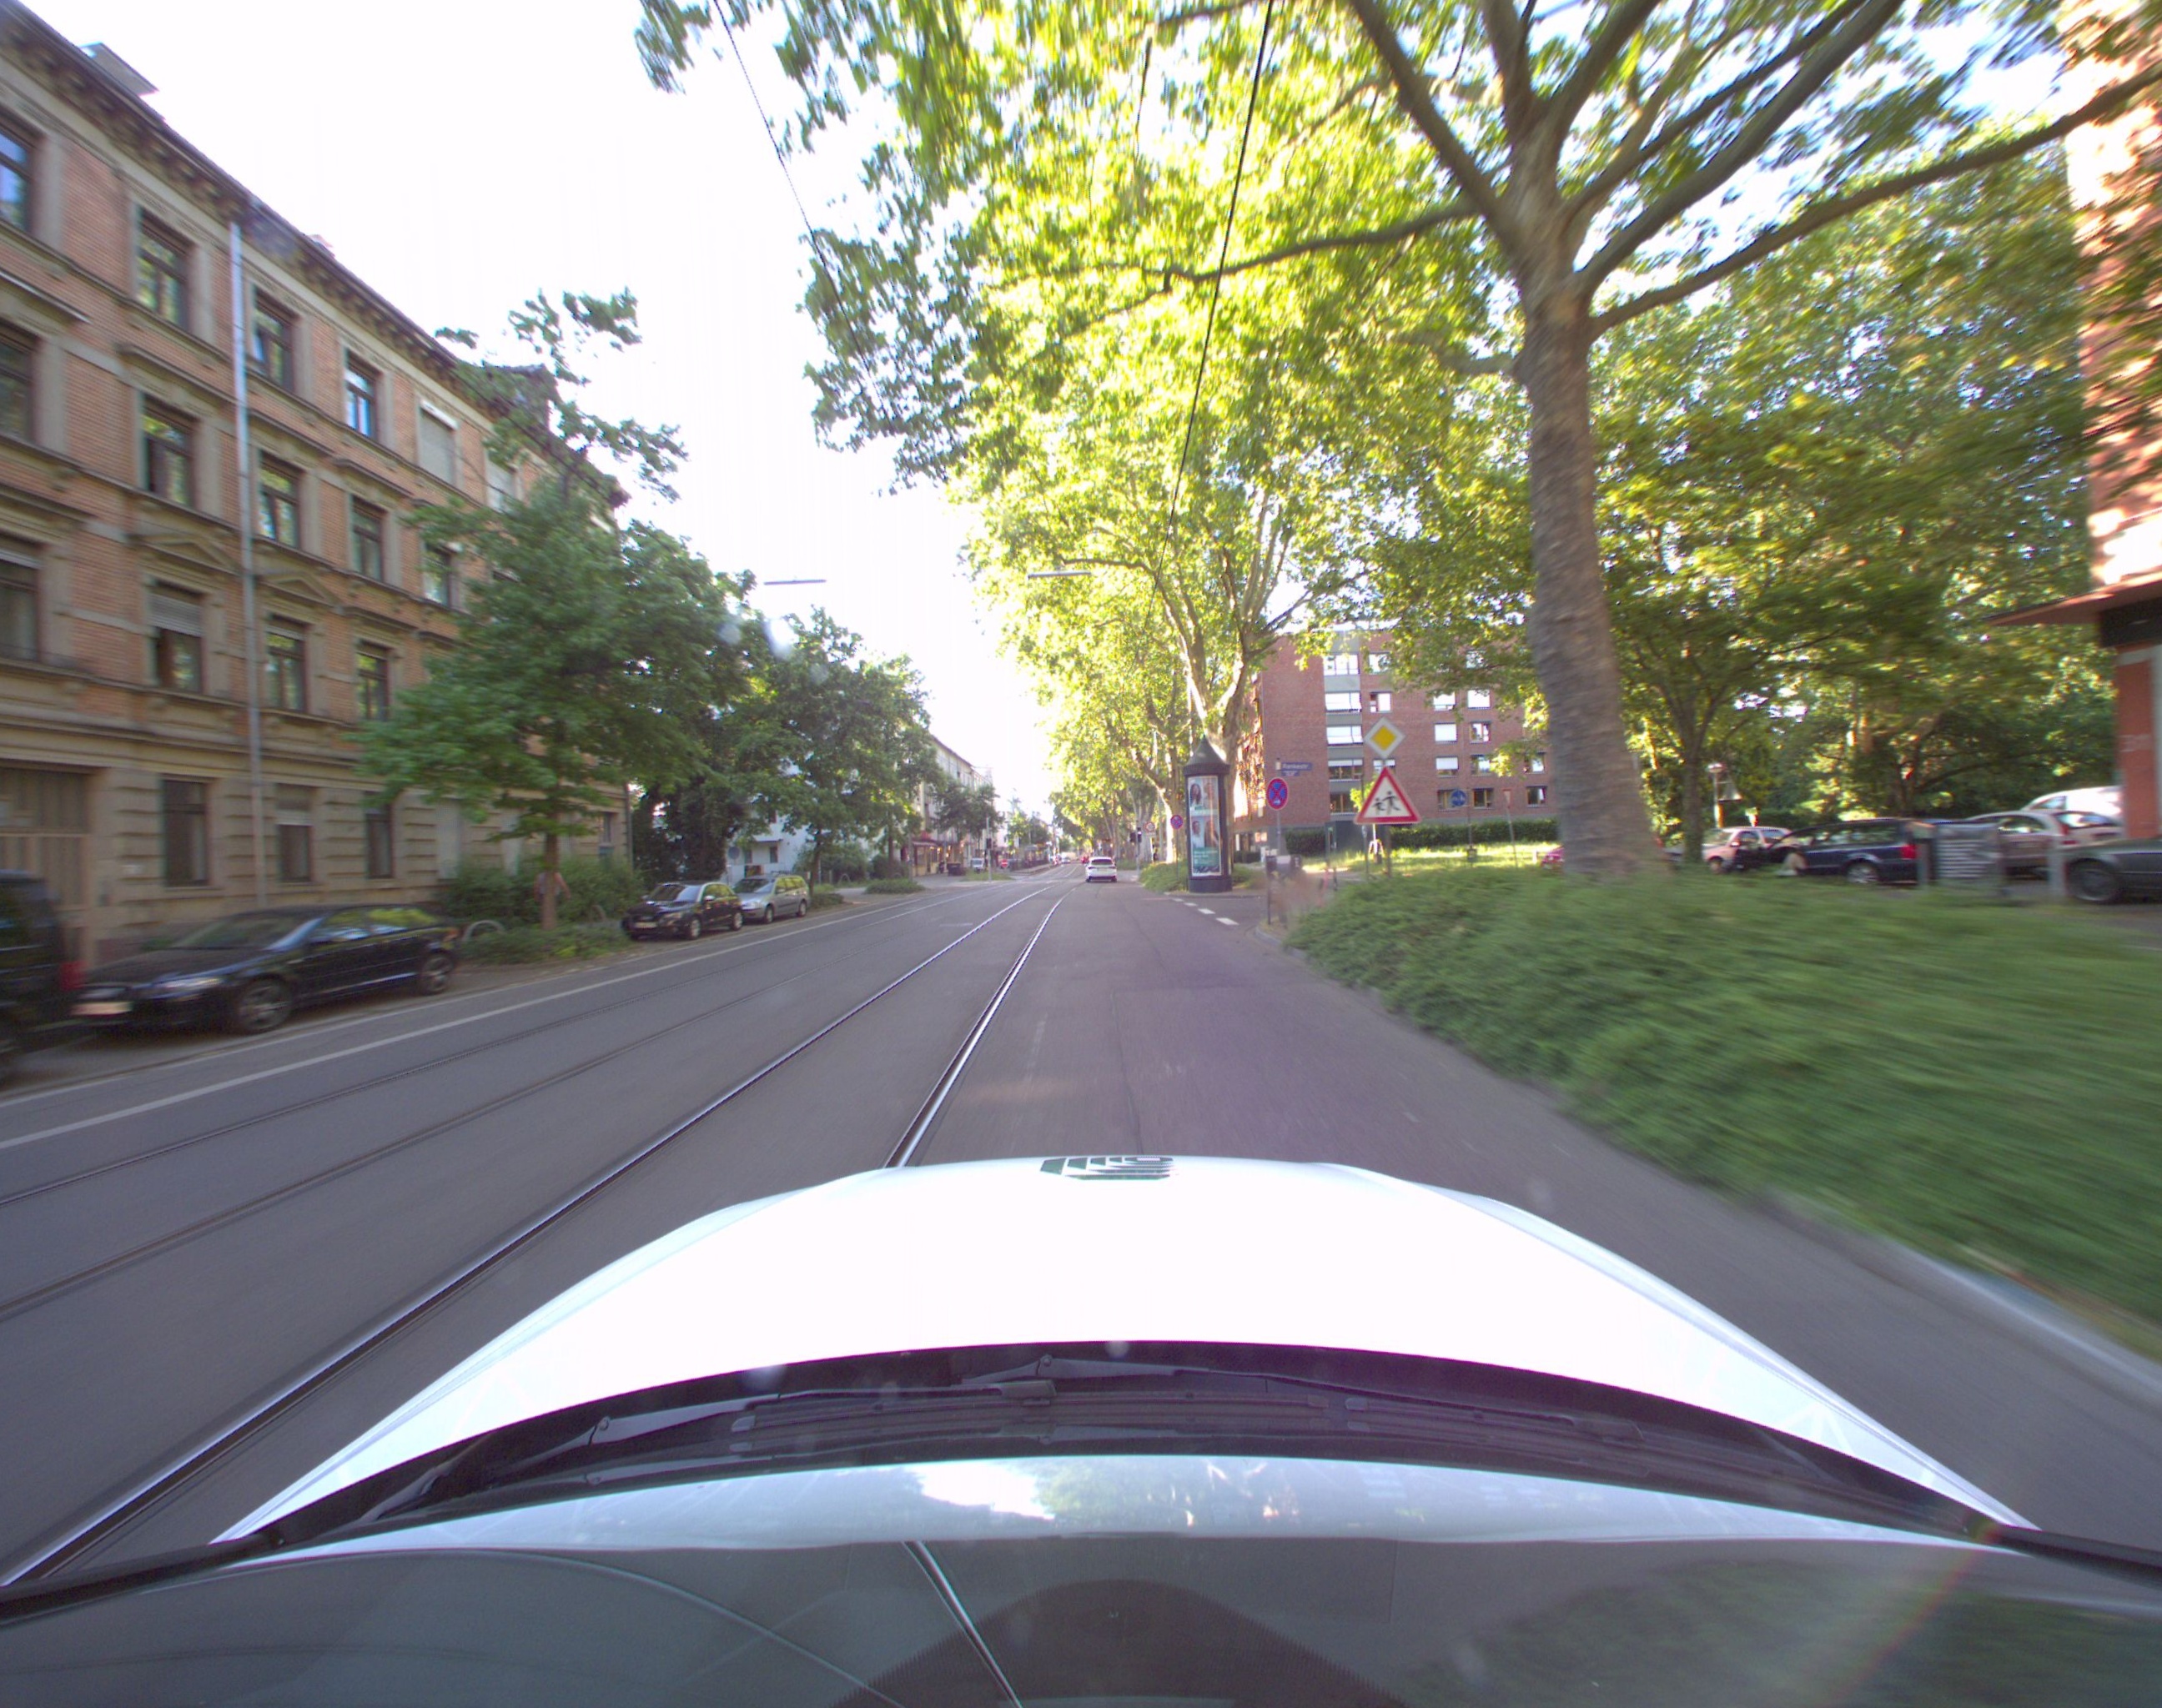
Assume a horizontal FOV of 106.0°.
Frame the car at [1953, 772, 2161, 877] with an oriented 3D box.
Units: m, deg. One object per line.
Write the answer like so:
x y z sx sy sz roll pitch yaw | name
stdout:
23.496 -0.668 18.411 1.907 2.184 5.079 -3 0 -3 | car

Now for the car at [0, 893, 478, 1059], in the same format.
-10.504 1.388 10.762 1.847 1.458 4.268 -3 0 -1 | car

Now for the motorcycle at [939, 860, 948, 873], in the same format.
-15.266 1.373 90.328 0.597 1.311 2.222 -3 0 0 | motorcycle

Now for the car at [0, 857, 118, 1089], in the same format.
-10.439 1.087 5.529 1.988 2.013 4.832 -3 0 -1 | car

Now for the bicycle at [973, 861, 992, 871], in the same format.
-11.778 1.448 97.403 2.245 1.074 0.636 1 0 1 | bicycle

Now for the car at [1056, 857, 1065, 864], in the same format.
-4.401 1.428 175.831 1.688 1.419 3.999 -3 0 0 | car

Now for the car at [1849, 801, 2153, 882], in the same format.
21.176 -0.263 19.116 1.785 1.574 4.572 -3 0 -4 | car

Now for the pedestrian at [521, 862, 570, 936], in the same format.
-13.788 1.151 20.996 0.739 1.847 0.728 -1 0 -2 | pedestrian

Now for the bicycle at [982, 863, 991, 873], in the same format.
-9.498 1.401 82.168 0.639 0.987 2.100 -4 0 -1 | bicycle

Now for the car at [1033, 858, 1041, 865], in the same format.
-10.282 1.660 190.220 1.672 1.548 3.999 0 0 0 | car

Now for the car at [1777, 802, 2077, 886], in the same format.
18.741 -0.206 18.430 1.786 1.574 4.569 -3 0 -5 | car

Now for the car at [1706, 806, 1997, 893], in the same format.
16.511 -0.082 17.861 1.786 1.574 4.569 -3 0 -5 | car

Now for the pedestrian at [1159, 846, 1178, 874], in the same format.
6.159 0.393 57.562 0.981 1.863 1.014 -6 0 -5 | pedestrian

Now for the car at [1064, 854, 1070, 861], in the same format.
-4.156 0.972 241.362 1.860 1.892 3.999 -3 0 0 | car

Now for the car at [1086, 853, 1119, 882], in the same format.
1.204 0.741 47.255 1.782 1.513 3.999 -3 0 0 | car

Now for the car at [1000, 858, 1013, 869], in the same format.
-11.246 1.441 123.683 1.588 1.548 3.999 0 0 0 | car

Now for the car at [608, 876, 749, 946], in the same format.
-10.240 1.389 21.049 1.653 1.445 3.948 -2 0 0 | car

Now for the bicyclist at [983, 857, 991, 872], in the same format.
-9.526 1.088 82.179 0.639 1.455 0.837 -4 0 -1 | bicyclist

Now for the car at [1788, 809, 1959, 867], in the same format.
25.420 -0.505 26.207 3.907 1.581 1.682 -3 0 -2 | car

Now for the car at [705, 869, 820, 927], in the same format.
-10.212 1.355 26.537 1.692 1.550 4.540 -2 0 3 | car

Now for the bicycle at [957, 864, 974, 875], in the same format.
-11.416 1.517 80.261 1.529 1.075 0.885 0 0 -1 | bicycle

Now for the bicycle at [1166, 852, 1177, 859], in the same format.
14.446 0.314 129.600 1.552 1.037 0.482 -3 0 21 | bicycle

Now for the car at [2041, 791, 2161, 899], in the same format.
15.122 -0.163 9.847 1.743 1.434 4.468 -3 0 0 | car

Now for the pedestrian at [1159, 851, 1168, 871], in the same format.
6.902 0.571 68.184 0.650 1.669 0.738 -3 0 -1 | pedestrian

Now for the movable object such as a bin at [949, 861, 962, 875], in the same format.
-12.078 1.366 78.185 1.167 1.348 0.782 1 -1 -4 | movable object such as a bin

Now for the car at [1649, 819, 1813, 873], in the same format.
20.644 -0.246 25.951 3.907 1.452 1.682 -3 0 -2 | car

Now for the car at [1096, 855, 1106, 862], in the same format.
4.215 0.989 172.720 1.987 1.453 3.999 -3 0 0 | car

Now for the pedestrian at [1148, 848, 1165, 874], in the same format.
5.520 0.498 59.370 0.993 1.811 0.862 -3 0 -6 | pedestrian

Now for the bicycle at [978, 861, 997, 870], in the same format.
-11.778 1.461 102.747 2.245 1.074 0.636 1 0 1 | bicycle

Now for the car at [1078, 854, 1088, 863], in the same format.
0.368 0.757 149.964 1.782 1.513 3.999 -3 0 0 | car

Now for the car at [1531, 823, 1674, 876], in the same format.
16.748 -0.138 26.246 3.529 1.452 1.682 -3 0 -2 | car

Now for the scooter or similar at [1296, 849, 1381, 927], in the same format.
4.381 0.567 13.919 1.205 1.240 0.569 -3 -1 -2 | scooter or similar

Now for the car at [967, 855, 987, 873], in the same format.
-11.642 1.068 91.534 1.682 1.940 3.999 -3 0 0 | car

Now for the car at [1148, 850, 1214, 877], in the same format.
6.120 0.575 50.058 3.869 1.423 1.650 -3 0 3 | car

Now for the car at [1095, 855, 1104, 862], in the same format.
4.050 1.017 177.805 1.987 1.453 3.999 -3 0 0 | car
